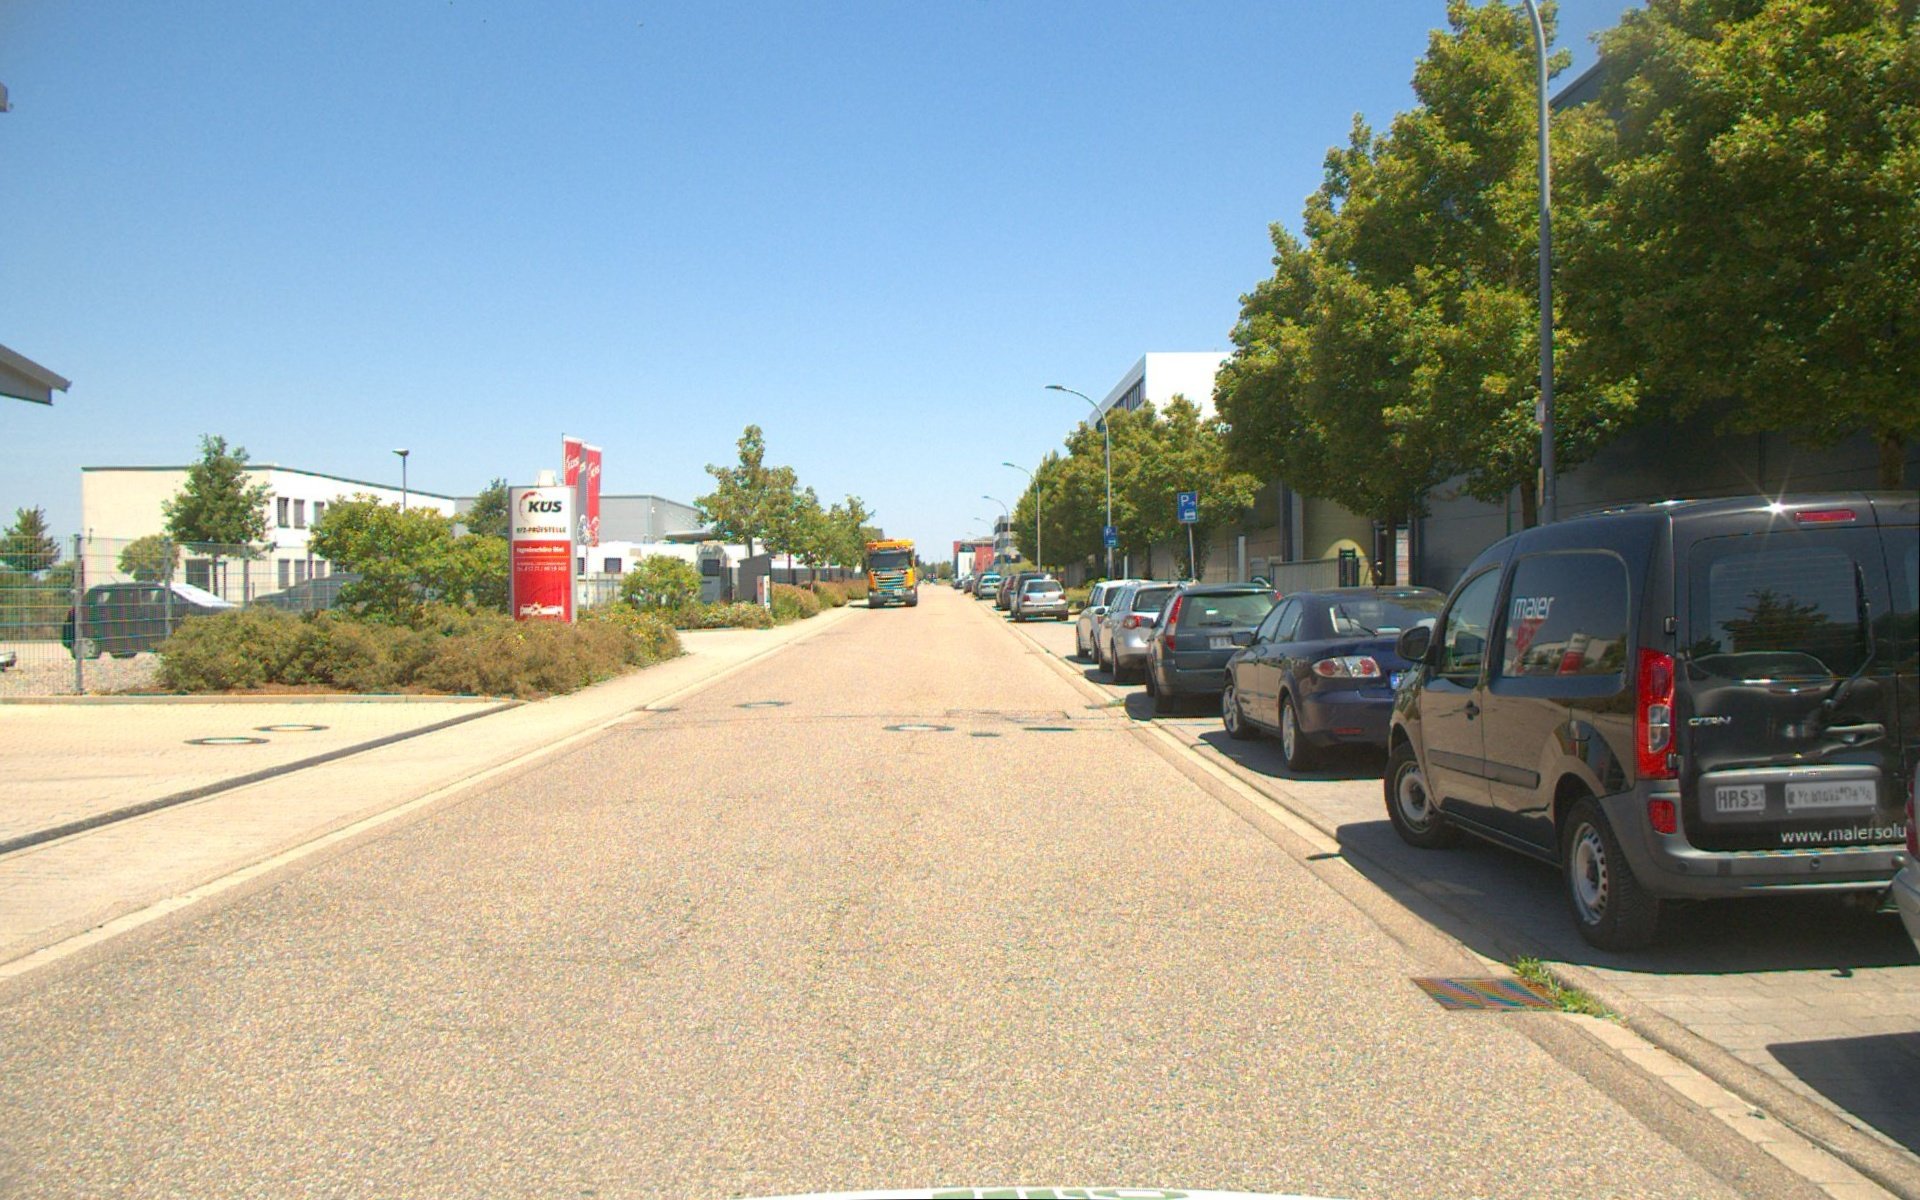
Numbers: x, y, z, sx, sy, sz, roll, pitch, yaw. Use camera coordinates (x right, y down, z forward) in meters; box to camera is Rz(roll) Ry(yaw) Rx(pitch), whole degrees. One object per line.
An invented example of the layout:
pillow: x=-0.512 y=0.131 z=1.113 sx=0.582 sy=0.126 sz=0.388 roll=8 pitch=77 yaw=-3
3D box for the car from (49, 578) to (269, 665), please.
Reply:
car: x=-15.301 y=0.392 z=31.717 sx=3.433 sy=1.579 sz=1.556 roll=-1 pitch=1 yaw=-6

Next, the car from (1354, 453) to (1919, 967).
car: x=3.506 y=0.379 z=8.241 sx=1.953 sy=1.857 sz=4.353 roll=-1 pitch=0 yaw=-1

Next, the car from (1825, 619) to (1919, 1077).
car: x=3.566 y=0.701 z=3.196 sx=1.676 sy=1.310 sz=4.115 roll=-1 pitch=0 yaw=1

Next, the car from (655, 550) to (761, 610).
car: x=-11.468 y=-0.923 z=75.484 sx=4.623 sy=2.631 sz=1.998 roll=-1 pitch=1 yaw=-5

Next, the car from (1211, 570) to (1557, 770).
car: x=3.532 y=0.507 z=14.741 sx=1.813 sy=1.456 sz=4.712 roll=-1 pitch=0 yaw=-1

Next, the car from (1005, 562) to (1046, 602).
car: x=2.981 y=-0.830 z=75.374 sx=1.686 sy=1.724 sz=3.984 roll=-1 pitch=1 yaw=0

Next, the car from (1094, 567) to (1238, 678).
car: x=3.197 y=0.292 z=26.501 sx=1.712 sy=1.589 sz=4.506 roll=-1 pitch=1 yaw=0

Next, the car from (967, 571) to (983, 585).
car: x=1.523 y=-2.278 z=168.856 sx=1.465 sy=1.434 sz=3.500 roll=-1 pitch=1 yaw=-1

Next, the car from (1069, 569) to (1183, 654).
car: x=3.159 y=0.179 z=32.118 sx=1.603 sy=1.494 sz=3.743 roll=-2 pitch=1 yaw=-3

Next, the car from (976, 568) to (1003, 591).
car: x=1.858 y=-1.304 z=104.452 sx=1.553 sy=1.434 sz=3.500 roll=-1 pitch=1 yaw=-1

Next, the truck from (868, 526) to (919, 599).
truck: x=-3.475 y=-1.986 z=87.866 sx=2.399 sy=3.574 sz=8.272 roll=-2 pitch=1 yaw=-1

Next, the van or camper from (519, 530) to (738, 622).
van or camper: x=-11.772 y=-0.859 z=59.163 sx=7.235 sy=3.090 sz=2.790 roll=-1 pitch=1 yaw=-2

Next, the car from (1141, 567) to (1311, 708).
car: x=3.202 y=0.396 z=20.676 sx=1.673 sy=1.531 sz=4.708 roll=-1 pitch=0 yaw=4

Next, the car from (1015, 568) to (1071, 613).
car: x=2.847 y=-0.334 z=57.478 sx=1.683 sy=1.475 sz=3.645 roll=-1 pitch=1 yaw=-1
